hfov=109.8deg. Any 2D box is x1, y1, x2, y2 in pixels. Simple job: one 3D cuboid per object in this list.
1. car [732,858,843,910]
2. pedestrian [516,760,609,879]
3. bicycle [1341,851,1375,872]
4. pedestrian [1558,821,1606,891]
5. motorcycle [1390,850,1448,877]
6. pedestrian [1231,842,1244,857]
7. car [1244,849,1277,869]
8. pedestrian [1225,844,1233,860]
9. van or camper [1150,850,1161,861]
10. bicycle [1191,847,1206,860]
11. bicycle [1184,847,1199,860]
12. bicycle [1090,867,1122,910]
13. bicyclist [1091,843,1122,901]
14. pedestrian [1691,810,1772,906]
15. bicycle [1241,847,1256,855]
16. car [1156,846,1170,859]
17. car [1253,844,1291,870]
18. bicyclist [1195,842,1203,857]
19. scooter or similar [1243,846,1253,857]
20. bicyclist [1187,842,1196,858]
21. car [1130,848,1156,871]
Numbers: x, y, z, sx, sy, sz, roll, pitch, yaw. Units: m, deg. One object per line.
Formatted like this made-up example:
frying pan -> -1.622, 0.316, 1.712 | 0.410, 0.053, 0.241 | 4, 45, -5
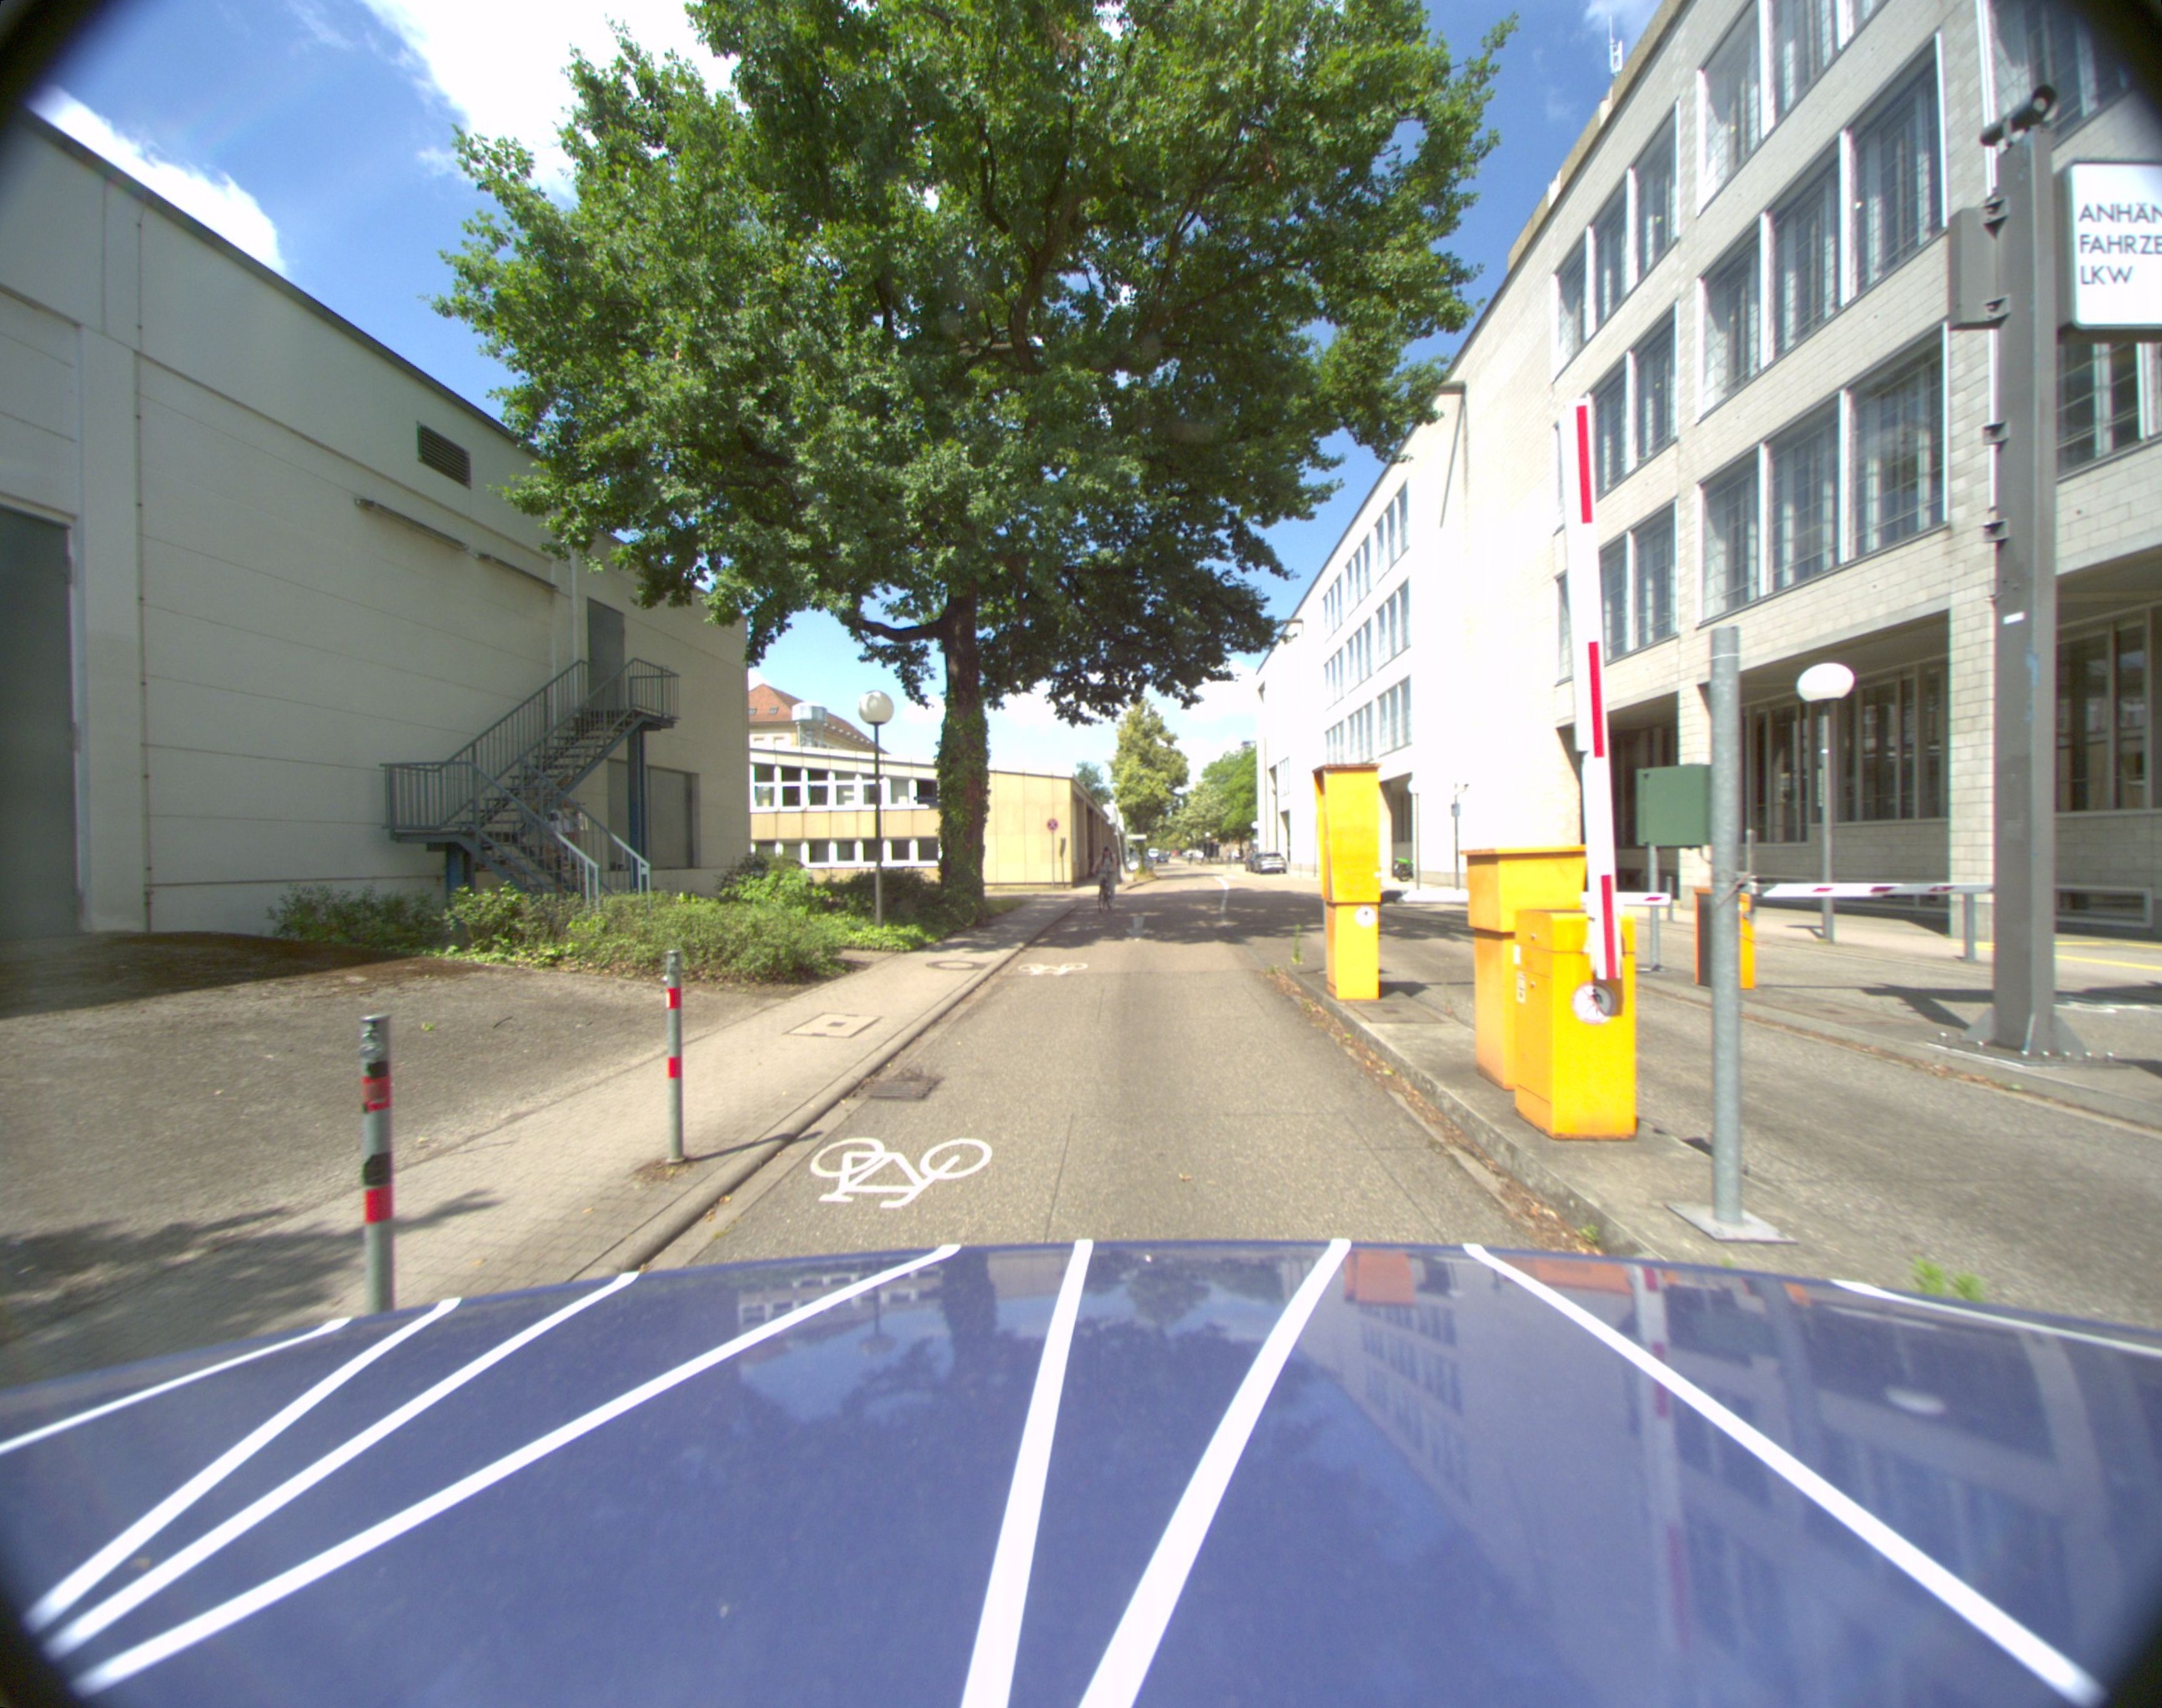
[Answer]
car -> -9.349, 0.892, 24.591 | 1.670, 1.468, 4.183 | -1, 1, 5
pedestrian -> -9.105, -0.583, 13.382 | 0.928, 2.002, 0.950 | 0, 1, 8
bicycle -> 15.360, 0.424, 42.150 | 1.643, 1.080, 0.608 | -2, 1, -1
pedestrian -> 14.786, 0.066, 22.428 | 0.858, 2.002, 0.881 | -2, 1, 7
motorcycle -> 14.669, 0.412, 33.010 | 2.172, 1.131, 0.774 | -1, 1, -5
pedestrian -> 19.527, -0.553, 94.762 | 1.399, 1.814, 1.370 | -2, 1, 4
car -> 13.443, 0.319, 57.021 | 1.730, 1.414, 4.666 | -1, 0, 5
pedestrian -> 17.257, -0.248, 88.424 | 0.760, 1.715, 1.236 | -4, 1, 15
van or camper -> 16.289, 0.383, 165.682 | 1.997, 2.348, 4.386 | -1, 0, 11
bicycle -> 13.843, -0.088, 89.448 | 0.640, 1.485, 1.931 | -3, 1, -34
bicycle -> 12.790, -0.065, 88.159 | 0.799, 1.485, 2.058 | -2, 1, -23
bicycle -> 0.677, 0.876, 19.935 | 0.781, 1.042, 1.913 | -1, 0, 3
bicyclist -> 0.666, 0.470, 19.791 | 0.780, 1.478, 0.696 | -1, 1, 3
pedestrian -> 14.038, 0.080, 16.431 | 0.850, 2.002, 1.066 | -1, 1, 2
bicycle -> 24.143, -0.418, 109.674 | 2.127, 1.052, 0.621 | -2, 1, -25
car -> 11.985, -0.194, 111.131 | 1.998, 1.805, 4.001 | -1, 0, 6
car -> 12.812, 0.173, 51.271 | 1.730, 1.526, 4.406 | -3, 1, 5
bicyclist -> 13.890, -0.564, 89.359 | 0.610, 1.755, 0.695 | -3, 1, -34
scooter or similar -> 19.641, -0.296, 89.509 | 0.713, 1.184, 1.617 | -1, 2, 27
bicyclist -> 12.788, -0.465, 88.062 | 0.763, 1.766, 0.731 | -2, 1, -24
car -> 4.329, 0.379, 53.213 | 1.760, 1.559, 3.818 | 0, 1, 4
